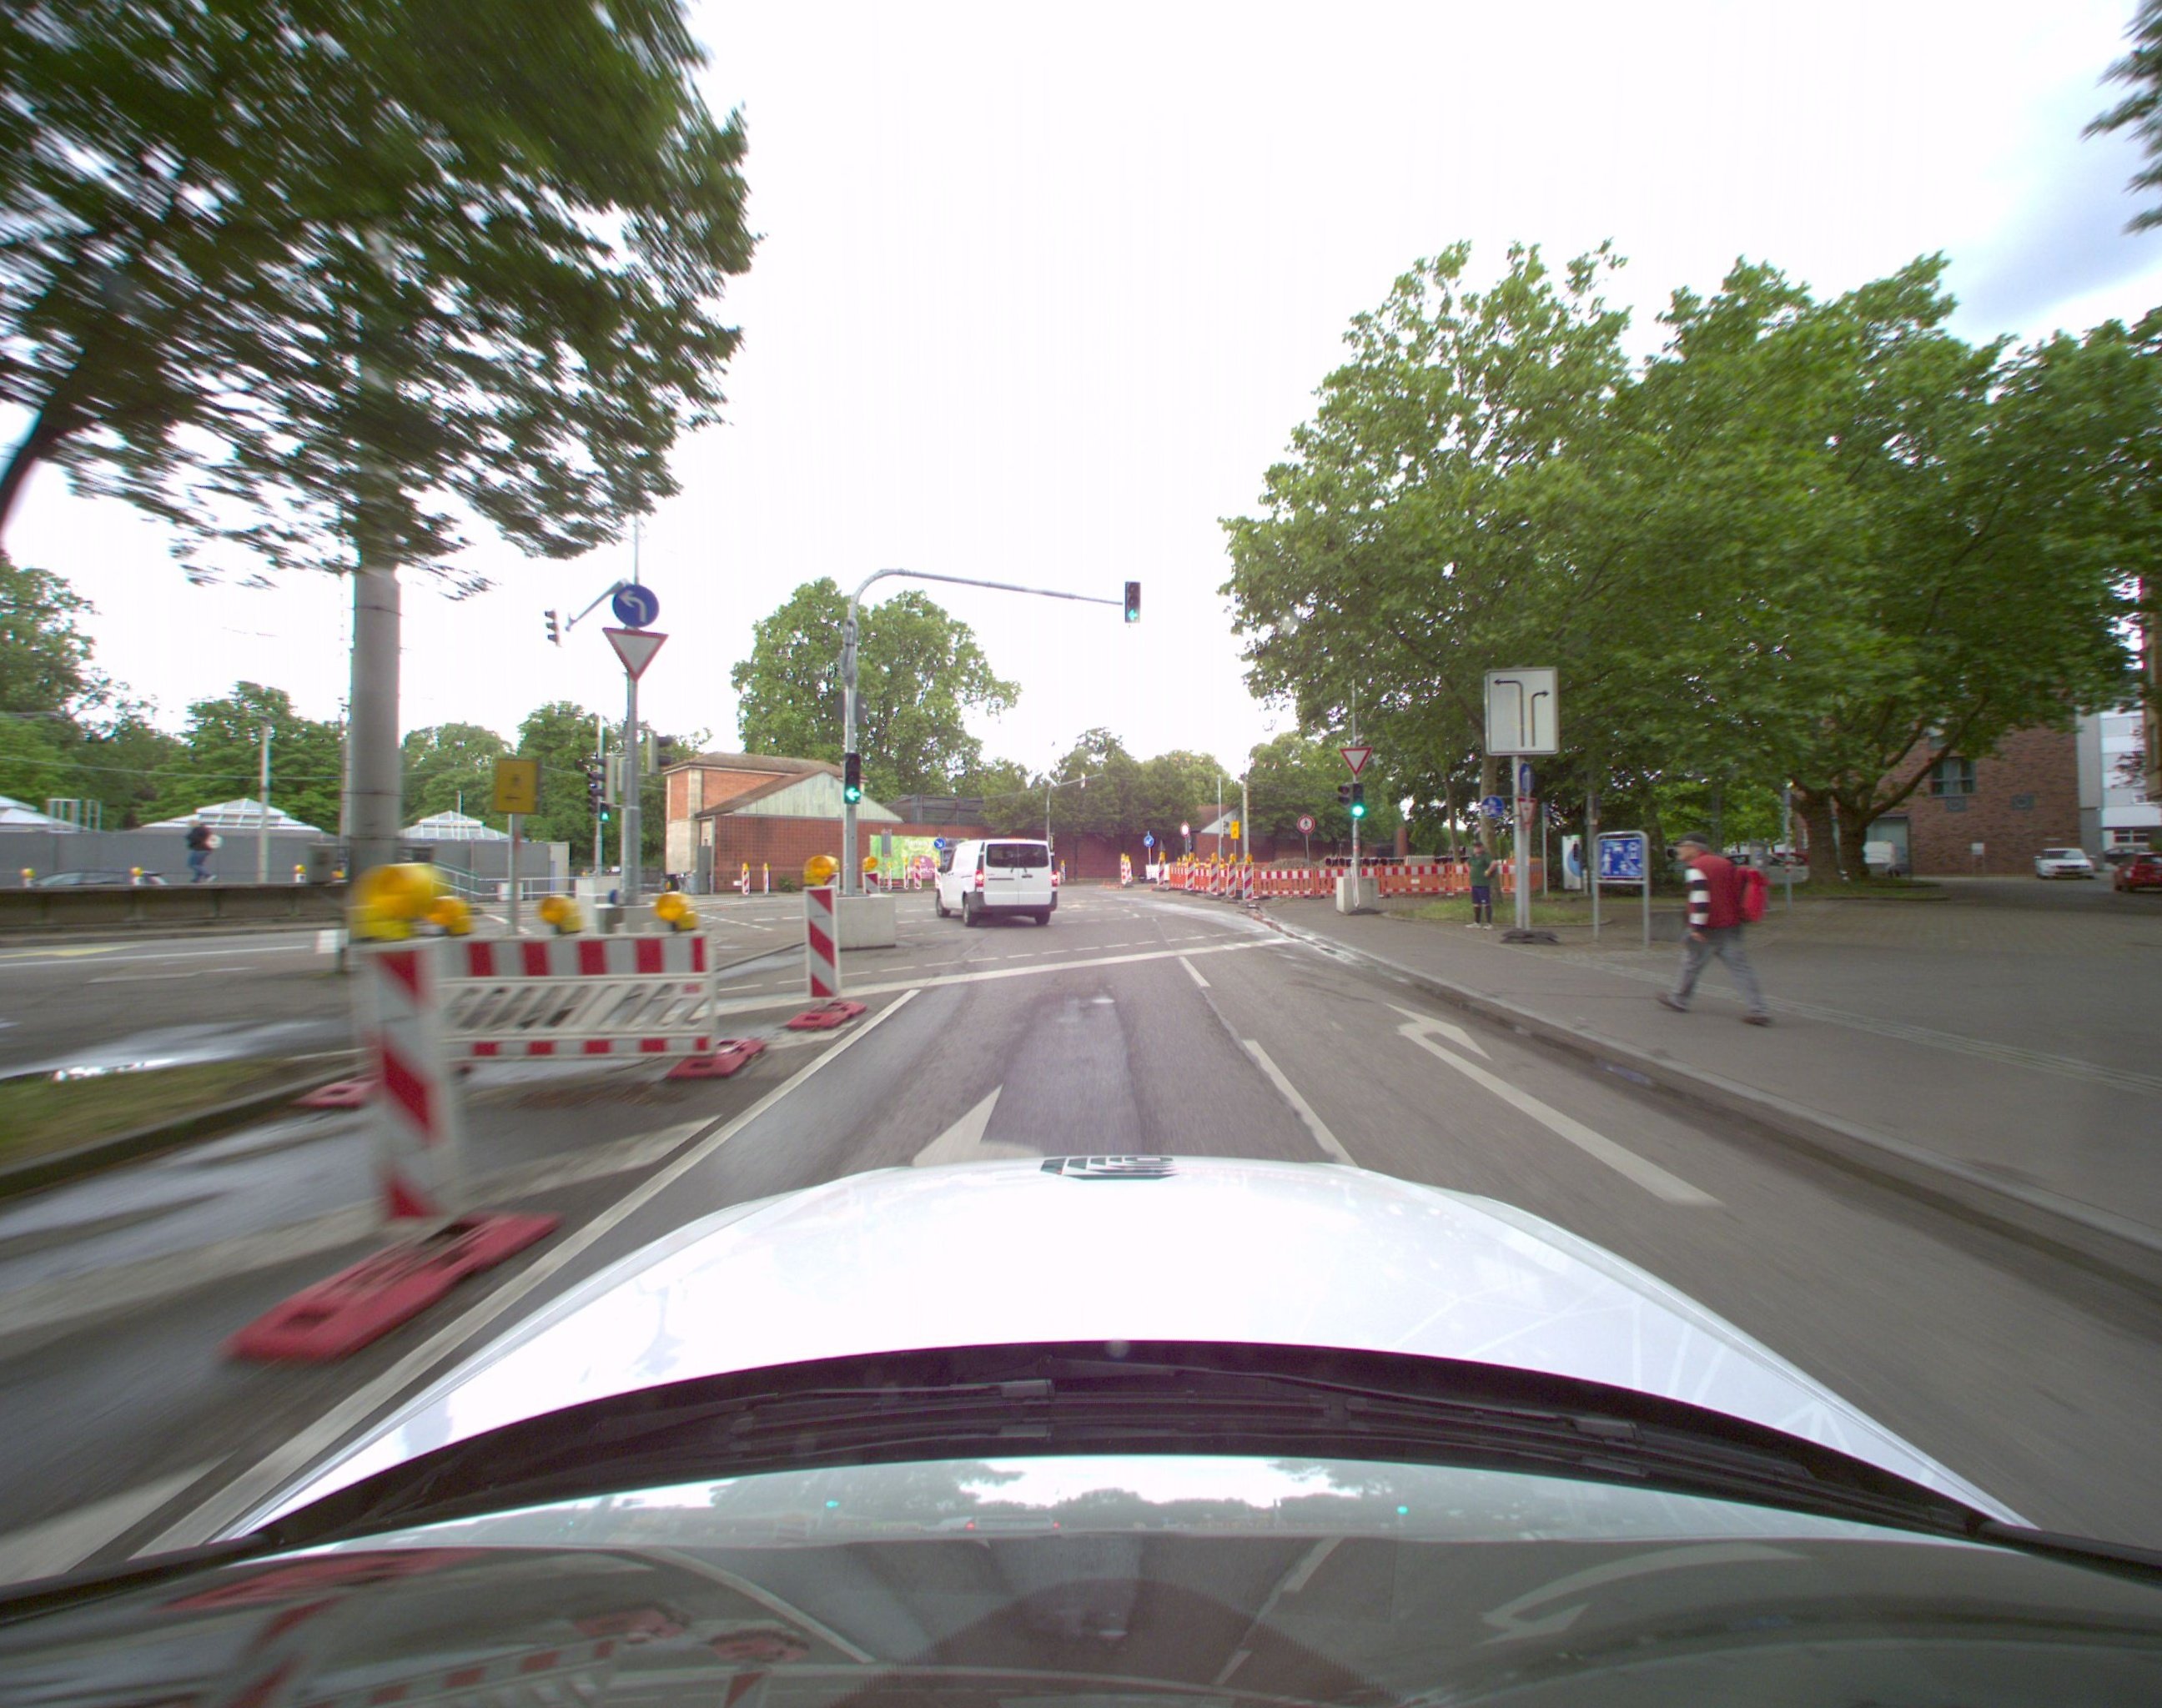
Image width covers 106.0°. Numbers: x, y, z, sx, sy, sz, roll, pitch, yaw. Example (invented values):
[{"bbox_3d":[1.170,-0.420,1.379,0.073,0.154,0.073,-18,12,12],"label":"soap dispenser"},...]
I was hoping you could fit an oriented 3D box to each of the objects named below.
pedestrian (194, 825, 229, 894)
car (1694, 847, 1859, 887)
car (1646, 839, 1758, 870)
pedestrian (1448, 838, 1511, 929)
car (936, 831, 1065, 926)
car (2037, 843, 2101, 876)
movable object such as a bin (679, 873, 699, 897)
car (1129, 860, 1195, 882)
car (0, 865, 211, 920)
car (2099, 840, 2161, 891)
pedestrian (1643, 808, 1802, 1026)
[{"bbox_3d":[-20.532,0.135,19.237,0.528,1.610,0.591,-1,-2,-43],"label":"pedestrian"},{"bbox_3d":[25.395,0.504,29.852,4.450,1.326,1.730,-3,-2,44],"label":"car"},{"bbox_3d":[32.043,0.053,42.082,4.449,1.472,1.730,-2,-2,41],"label":"car"},{"bbox_3d":[7.731,0.556,15.822,0.730,1.697,0.836,-2,0,-7],"label":"pedestrian"},{"bbox_3d":[-2.038,0.602,19.217,1.923,1.902,4.670,3,-3,-19],"label":"car"},{"bbox_3d":[48.501,0.279,40.034,4.133,1.507,1.699,0,-2,-43],"label":"car"},{"bbox_3d":[-22.017,1.740,45.716,0.855,1.340,0.791,0,-2,-40],"label":"movable object such as a bin"},{"bbox_3d":[5.752,1.188,57.388,4.477,1.443,1.859,1,-3,-35],"label":"car"},{"bbox_3d":[-30.035,1.158,25.262,4.022,1.552,1.736,0,-3,-43],"label":"car"},{"bbox_3d":[38.249,0.388,29.105,4.432,1.711,1.976,0,-2,-43],"label":"car"},{"bbox_3d":[5.745,0.544,7.344,0.776,1.831,0.728,-3,0,2],"label":"pedestrian"}]
